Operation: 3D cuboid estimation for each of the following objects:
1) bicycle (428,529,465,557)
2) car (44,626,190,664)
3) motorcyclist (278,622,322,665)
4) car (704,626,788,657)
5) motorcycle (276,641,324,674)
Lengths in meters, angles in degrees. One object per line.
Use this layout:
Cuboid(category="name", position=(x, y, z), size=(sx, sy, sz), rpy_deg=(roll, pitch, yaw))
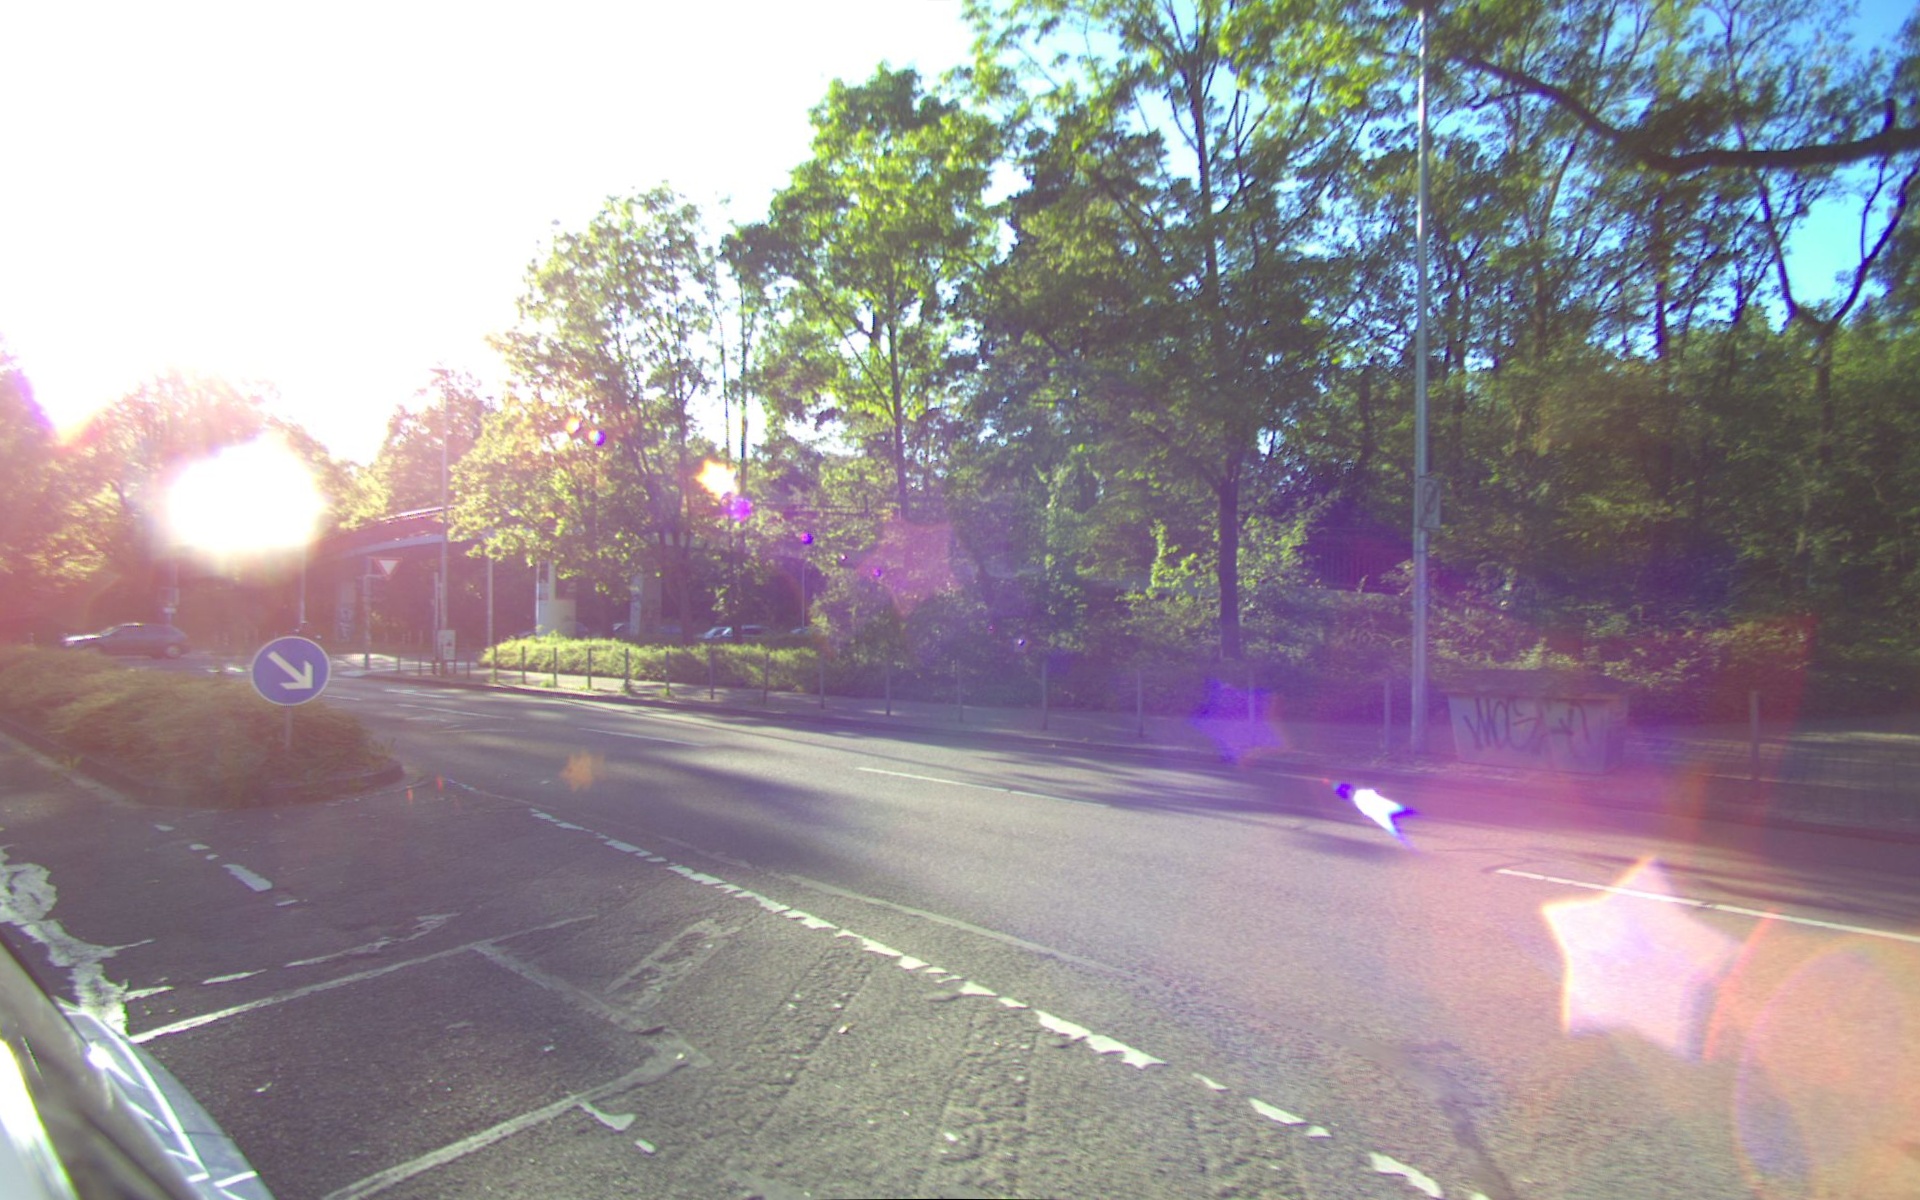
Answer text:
Cuboid(category="bicycle", position=(-28.296, -3.099, 55.723), size=(2.449, 1.383, 1.037), rpy_deg=(0, -1, 44))
Cuboid(category="car", position=(-32.634, 1.703, 39.275), size=(1.862, 1.400, 3.957), rpy_deg=(-1, -2, 31))
Cuboid(category="motorcyclist", position=(-22.982, 1.499, 35.272), size=(0.936, 1.482, 1.072), rpy_deg=(0, -2, -10))
Cuboid(category="car", position=(-11.693, 2.254, 55.570), size=(1.812, 1.592, 4.260), rpy_deg=(2, 0, 41))
Cuboid(category="motorcycle", position=(-22.924, 1.993, 35.191), size=(0.516, 1.077, 2.292), rpy_deg=(0, -2, -10))
